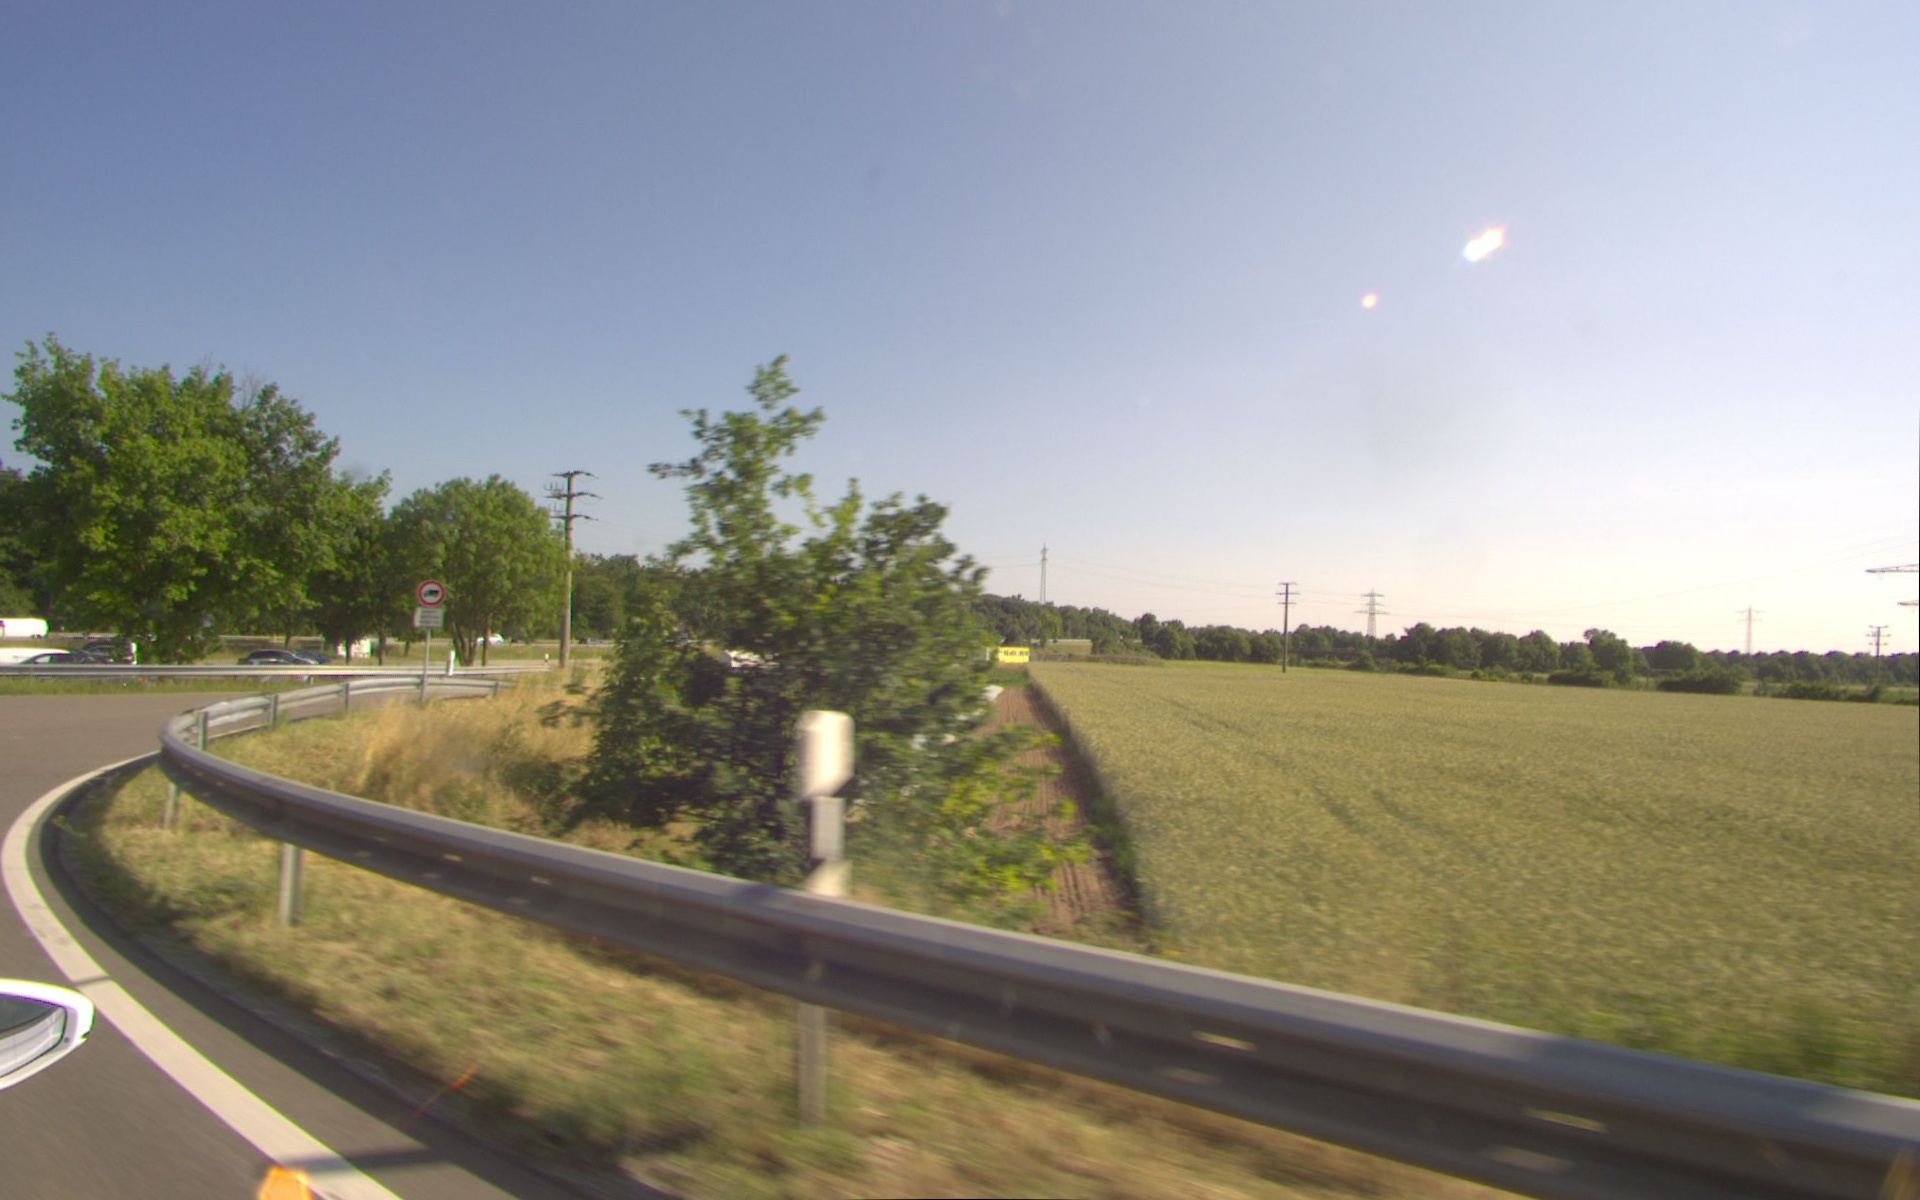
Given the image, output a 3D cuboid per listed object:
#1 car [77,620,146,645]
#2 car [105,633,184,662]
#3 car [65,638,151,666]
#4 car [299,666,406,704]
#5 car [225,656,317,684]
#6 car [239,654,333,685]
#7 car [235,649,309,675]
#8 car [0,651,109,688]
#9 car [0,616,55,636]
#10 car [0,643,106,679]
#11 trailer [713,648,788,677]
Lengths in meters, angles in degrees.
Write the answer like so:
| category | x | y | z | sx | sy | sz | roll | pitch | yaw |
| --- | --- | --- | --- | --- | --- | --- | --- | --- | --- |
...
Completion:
| category | x | y | z | sx | sy | sz | roll | pitch | yaw |
| --- | --- | --- | --- | --- | --- | --- | --- | --- | --- |
| car | -70.643 | 2.727 | 83.389 | 1.772 | 2.039 | 3.986 | 1 | -1 | 28 |
| car | -59.808 | 3.473 | 73.495 | 3.932 | 1.899 | 1.888 | 4 | -4 | -18 |
| car | -57.551 | 3.510 | 67.695 | 3.938 | 1.639 | 1.886 | 4 | -4 | -24 |
| car | -29.584 | 4.146 | 48.842 | 1.869 | 1.685 | 3.974 | 0 | -5 | 40 |
| car | -40.818 | 4.135 | 59.350 | 4.321 | 1.465 | 1.985 | 5 | -4 | -38 |
| car | -38.939 | 4.041 | 57.887 | 4.321 | 1.608 | 1.985 | 5 | -4 | -38 |
| car | -46.957 | 4.223 | 68.445 | 3.946 | 1.599 | 1.882 | 5 | -4 | -31 |
| car | -46.068 | 3.486 | 50.718 | 1.882 | 1.689 | 4.388 | 0 | -1 | 44 |
| car | -78.544 | 2.146 | 82.968 | 1.968 | 1.572 | 4.881 | 0 | -1 | 26 |
| car | -48.085 | 3.241 | 52.918 | 1.882 | 1.805 | 4.332 | 0 | -4 | 44 |
| trailer | -20.616 | 6.193 | 98.731 | 6.741 | 2.703 | 2.867 | 5 | -3 | -42 |
